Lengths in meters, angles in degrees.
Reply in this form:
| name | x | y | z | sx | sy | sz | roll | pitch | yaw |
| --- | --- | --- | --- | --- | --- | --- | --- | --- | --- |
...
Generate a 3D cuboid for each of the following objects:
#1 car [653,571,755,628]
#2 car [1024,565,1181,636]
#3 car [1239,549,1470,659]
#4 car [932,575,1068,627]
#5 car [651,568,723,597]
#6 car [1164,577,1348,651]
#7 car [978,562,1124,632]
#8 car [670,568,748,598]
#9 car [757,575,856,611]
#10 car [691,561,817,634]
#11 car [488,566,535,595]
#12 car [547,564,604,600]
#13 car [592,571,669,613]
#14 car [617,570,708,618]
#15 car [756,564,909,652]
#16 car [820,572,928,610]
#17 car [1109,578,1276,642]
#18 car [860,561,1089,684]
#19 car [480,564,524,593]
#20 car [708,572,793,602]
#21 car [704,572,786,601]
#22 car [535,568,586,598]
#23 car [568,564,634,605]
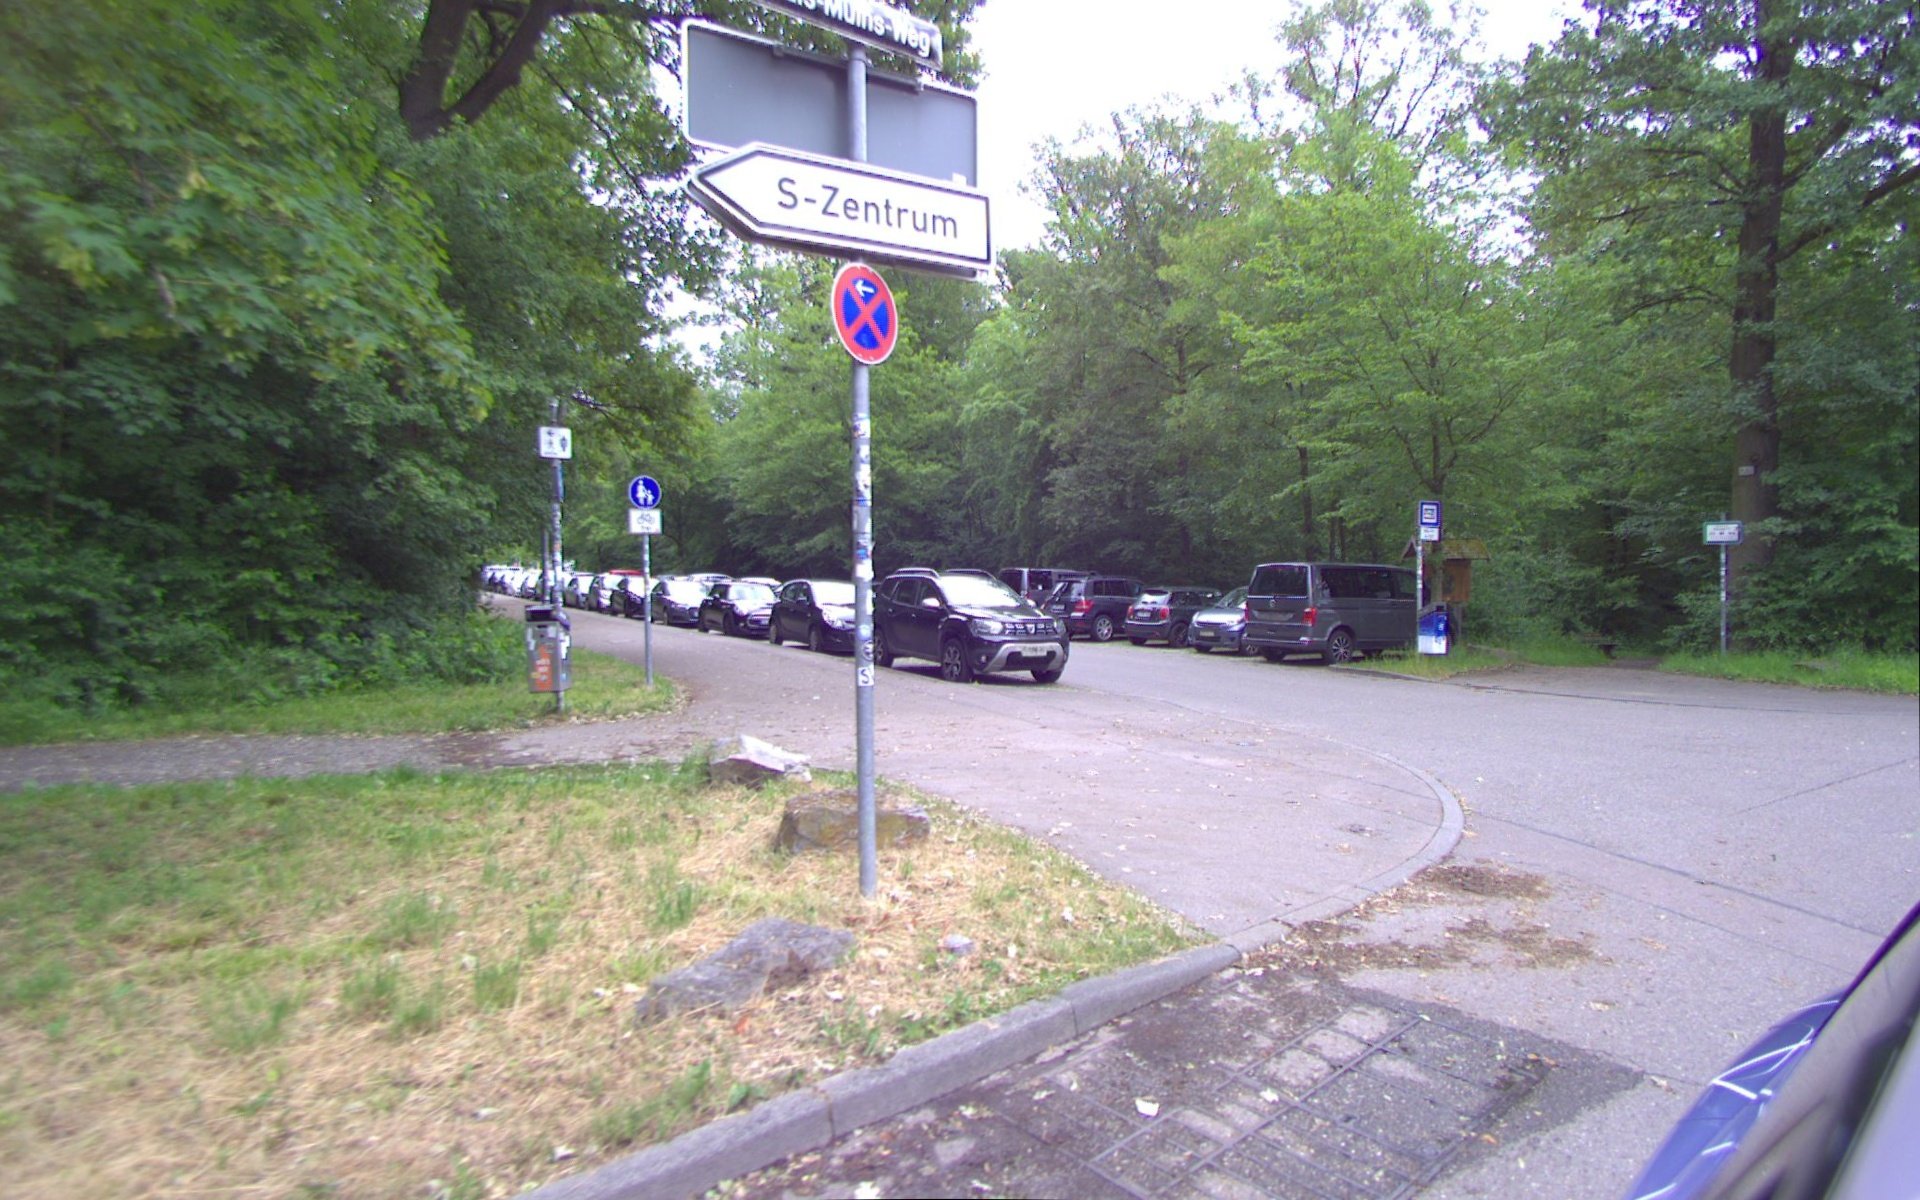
| name | x | y | z | sx | sy | sz | roll | pitch | yaw |
| --- | --- | --- | --- | --- | --- | --- | --- | --- | --- |
| car | -7.493 | -0.064 | 29.323 | 1.707 | 1.513 | 4.238 | 0 | 2 | -31 |
| car | 3.853 | -0.048 | 27.211 | 3.922 | 1.787 | 1.825 | -1 | 2 | -32 |
| car | 7.939 | 0.073 | 20.310 | 4.425 | 2.003 | 1.893 | 1 | 0 | -28 |
| car | 1.256 | -0.011 | 31.304 | 3.922 | 1.494 | 1.781 | -1 | 2 | -33 |
| car | -16.690 | -1.062 | 61.796 | 3.920 | 1.683 | 1.816 | 0 | 1 | -30 |
| car | 6.672 | 0.288 | 22.783 | 3.749 | 1.531 | 1.812 | 1 | 1 | -28 |
| car | 2.646 | -0.134 | 29.330 | 3.921 | 1.885 | 1.815 | -1 | 2 | -31 |
| car | -14.284 | -0.950 | 57.623 | 3.921 | 1.683 | 1.816 | 0 | 1 | -32 |
| car | -6.665 | -0.317 | 44.058 | 3.921 | 1.485 | 1.716 | -1 | 1 | -31 |
| car | -5.252 | -0.129 | 25.331 | 1.707 | 1.653 | 4.379 | 0 | 2 | -31 |
| car | -24.429 | -1.086 | 55.059 | 1.708 | 1.492 | 4.609 | 0 | 2 | -32 |
| car | -17.621 | -0.848 | 46.258 | 1.708 | 1.587 | 4.011 | 0 | 2 | -32 |
| car | -12.344 | -0.330 | 37.753 | 1.708 | 1.449 | 4.505 | 0 | 2 | -32 |
| car | -9.804 | -0.253 | 33.099 | 1.708 | 1.449 | 4.505 | 0 | 2 | -32 |
| car | -2.775 | 0.084 | 21.208 | 1.779 | 1.653 | 4.003 | 0 | 2 | -30 |
| car | -3.393 | -0.360 | 40.262 | 3.920 | 1.456 | 1.717 | 0 | 1 | -31 |
| car | 5.790 | 0.196 | 25.143 | 3.920 | 1.448 | 1.723 | -1 | 2 | -30 |
| car | 0.083 | 0.246 | 15.773 | 1.779 | 1.653 | 4.003 | 0 | 2 | -30 |
| car | -27.372 | -1.326 | 60.383 | 1.708 | 1.664 | 5.076 | 0 | 2 | -32 |
| car | -10.570 | -0.642 | 51.083 | 3.919 | 1.453 | 1.679 | 0 | 1 | -29 |
| car | -11.345 | -0.699 | 53.333 | 3.919 | 1.453 | 1.650 | 0 | 1 | -29 |
| car | -20.224 | -0.873 | 51.150 | 1.708 | 1.442 | 4.158 | 0 | 2 | -32 |
| car | -14.986 | -0.685 | 42.104 | 1.708 | 1.608 | 4.386 | 0 | 2 | -32 |
